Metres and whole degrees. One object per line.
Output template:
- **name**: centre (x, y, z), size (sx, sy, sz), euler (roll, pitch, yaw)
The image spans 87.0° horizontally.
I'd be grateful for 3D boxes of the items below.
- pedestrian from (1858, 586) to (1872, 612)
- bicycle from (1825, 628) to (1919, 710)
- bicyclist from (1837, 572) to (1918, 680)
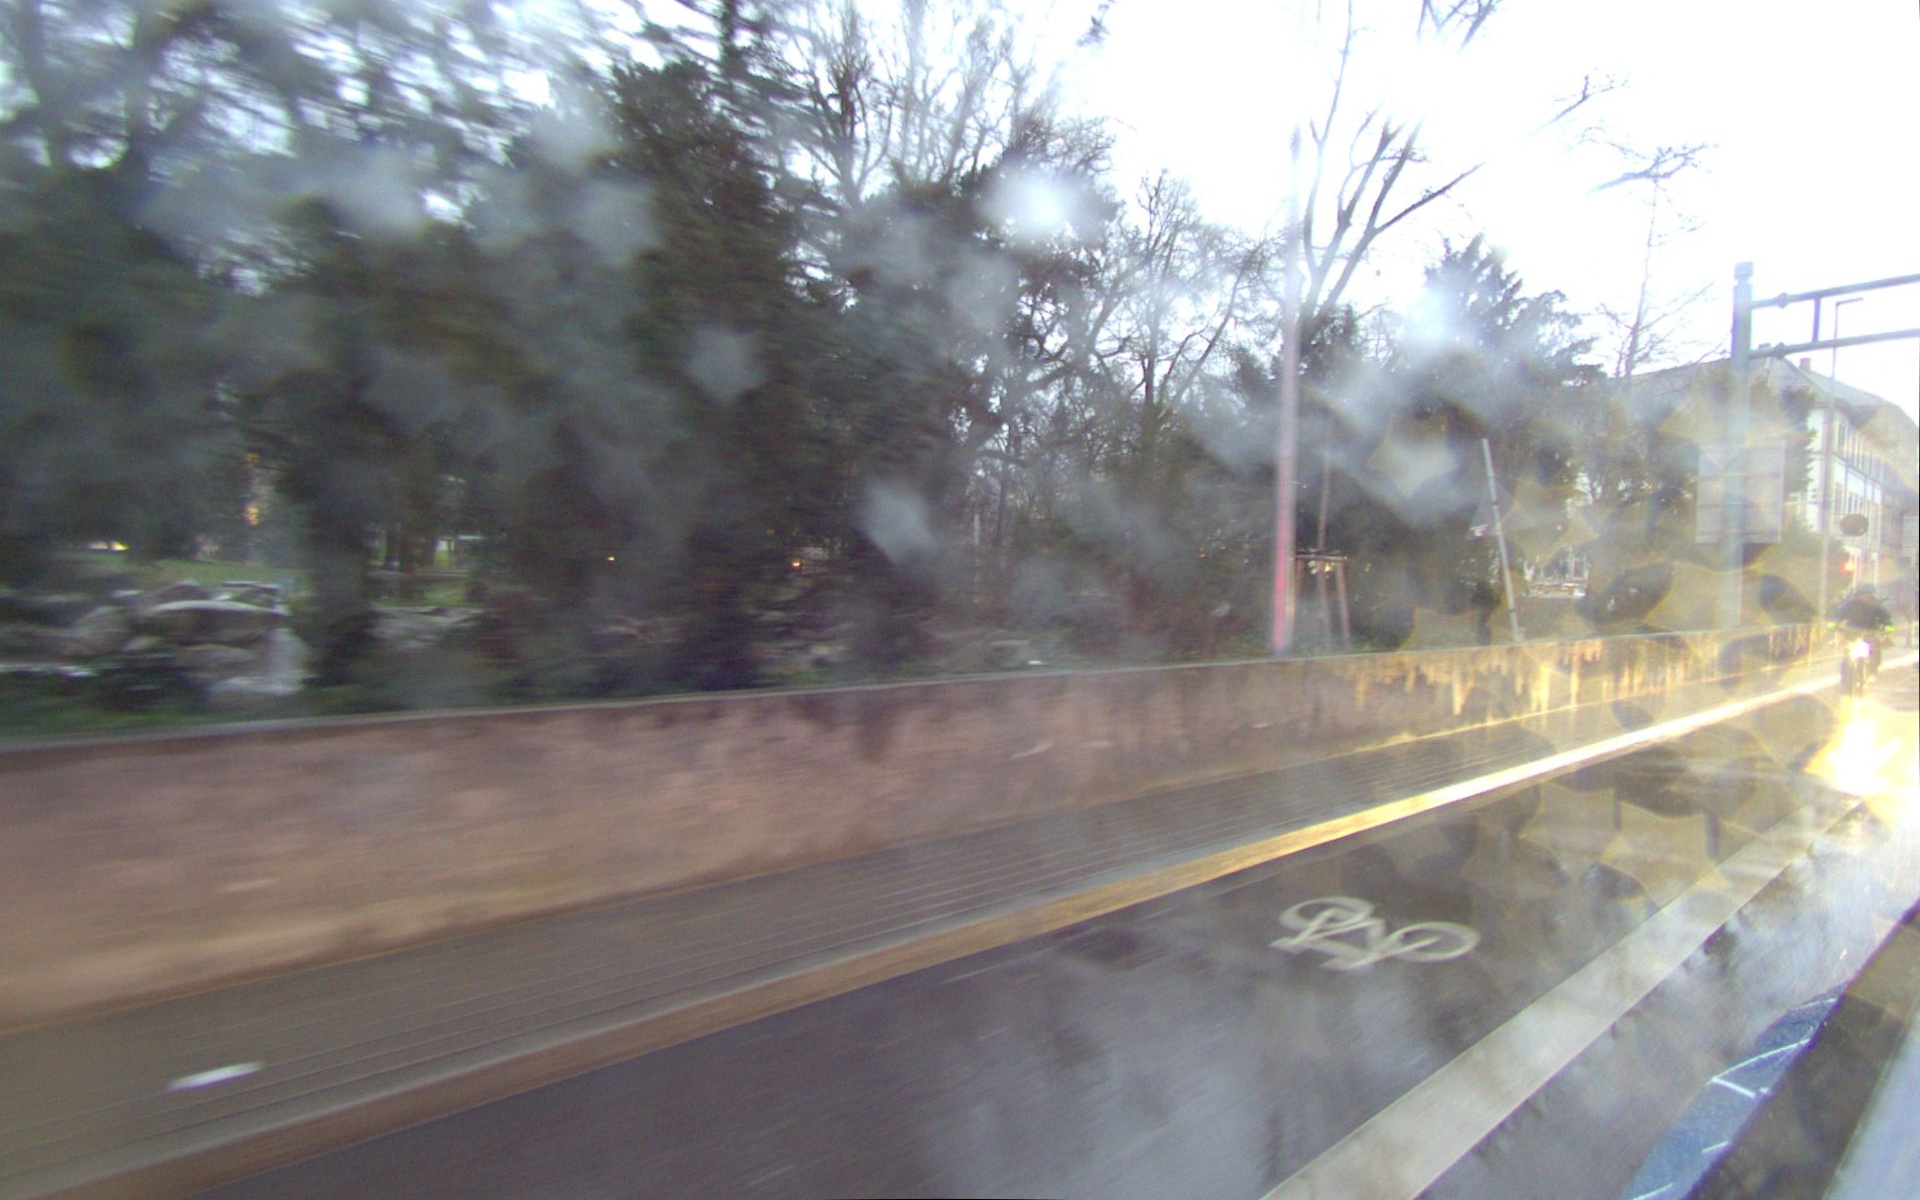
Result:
- **pedestrian**: centre (53.031, -0.074, 59.294), size (0.577, 1.529, 0.520), euler (0, 2, -41)
- **bicycle**: centre (12.524, 0.910, 13.855), size (2.009, 0.978, 0.647), euler (0, 2, -39)
- **bicyclist**: centre (12.531, 0.338, 13.824), size (0.874, 1.406, 0.647), euler (0, 2, -38)
